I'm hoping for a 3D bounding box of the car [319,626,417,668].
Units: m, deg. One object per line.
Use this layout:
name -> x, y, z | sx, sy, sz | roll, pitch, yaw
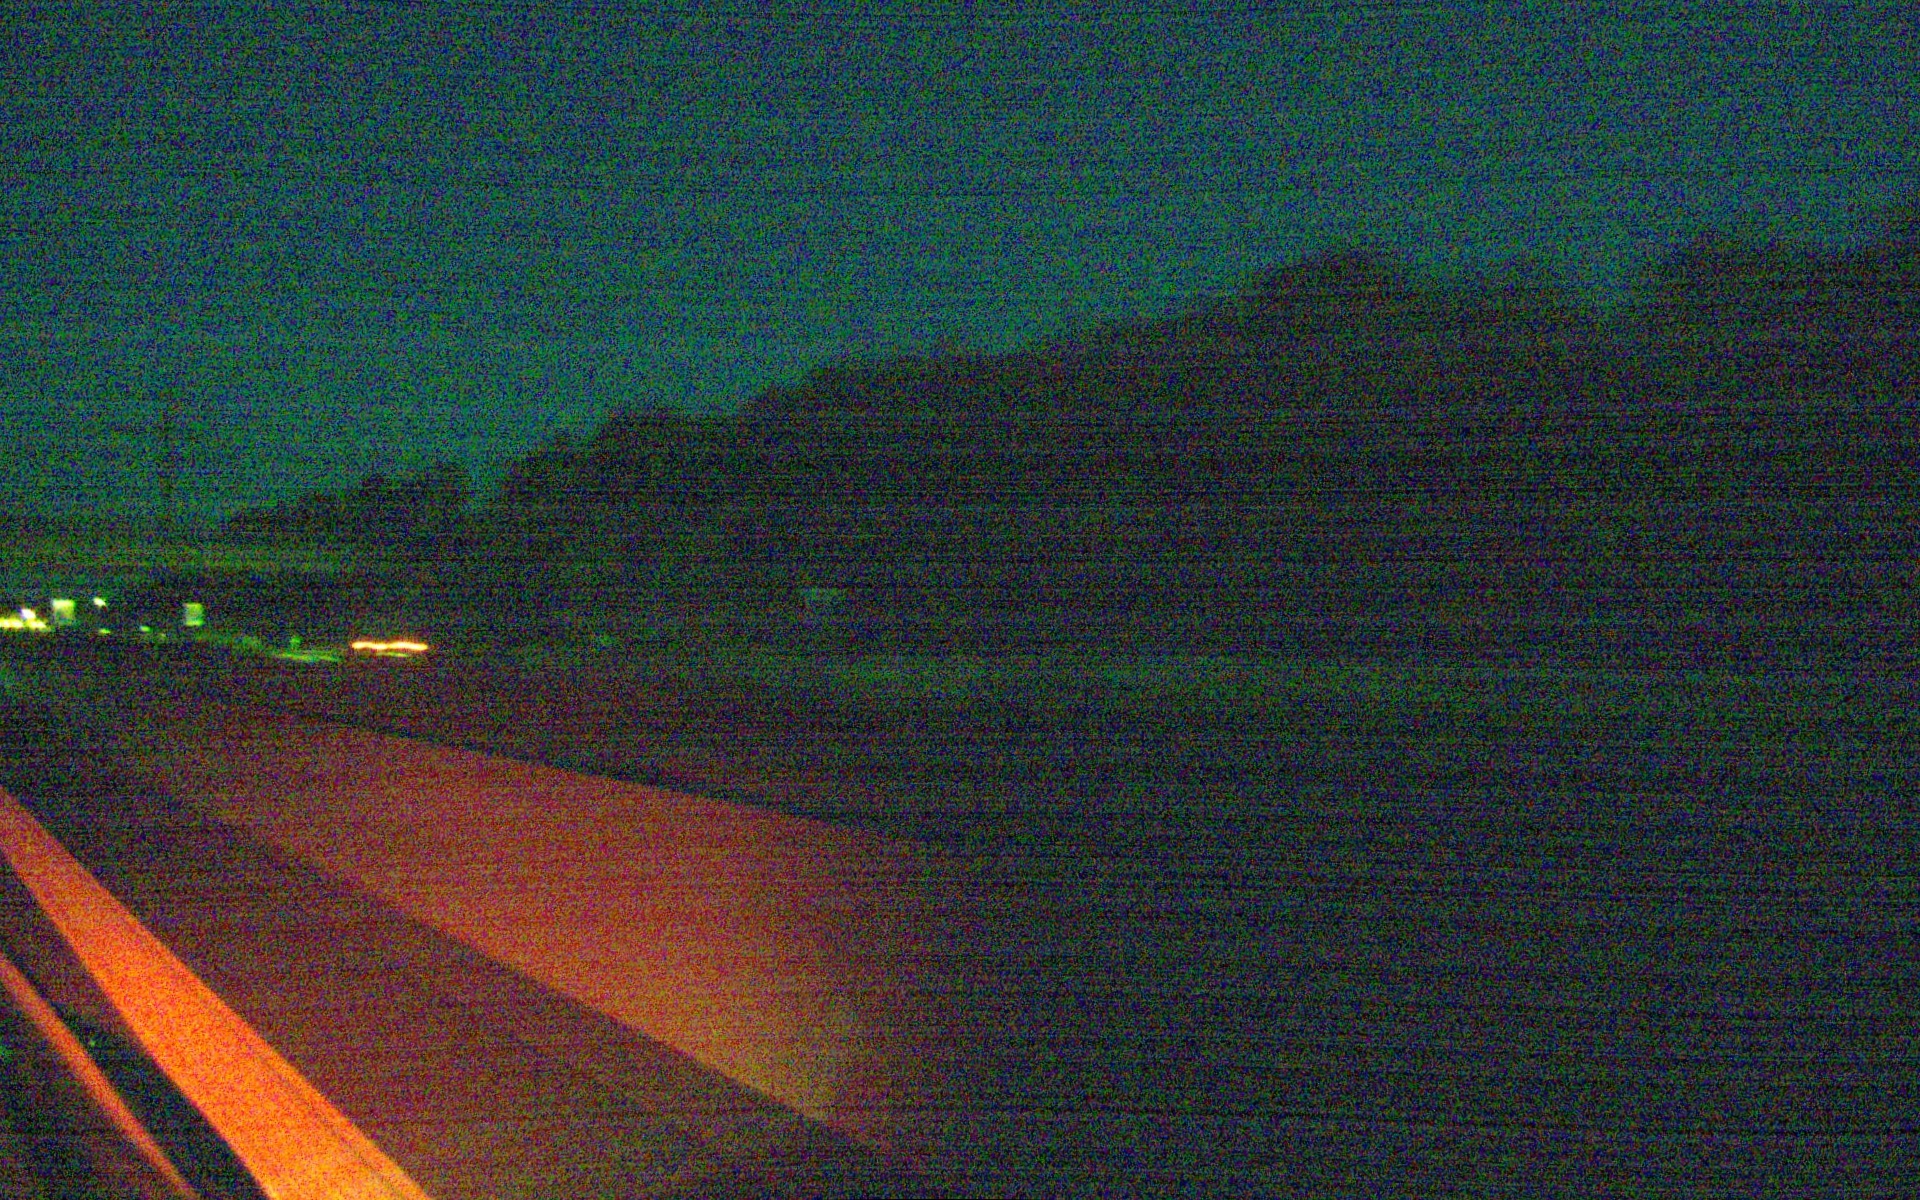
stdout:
car -> -23.006, 1.806, 39.278 | 4.557, 1.477, 1.802 | -1, -4, 40
